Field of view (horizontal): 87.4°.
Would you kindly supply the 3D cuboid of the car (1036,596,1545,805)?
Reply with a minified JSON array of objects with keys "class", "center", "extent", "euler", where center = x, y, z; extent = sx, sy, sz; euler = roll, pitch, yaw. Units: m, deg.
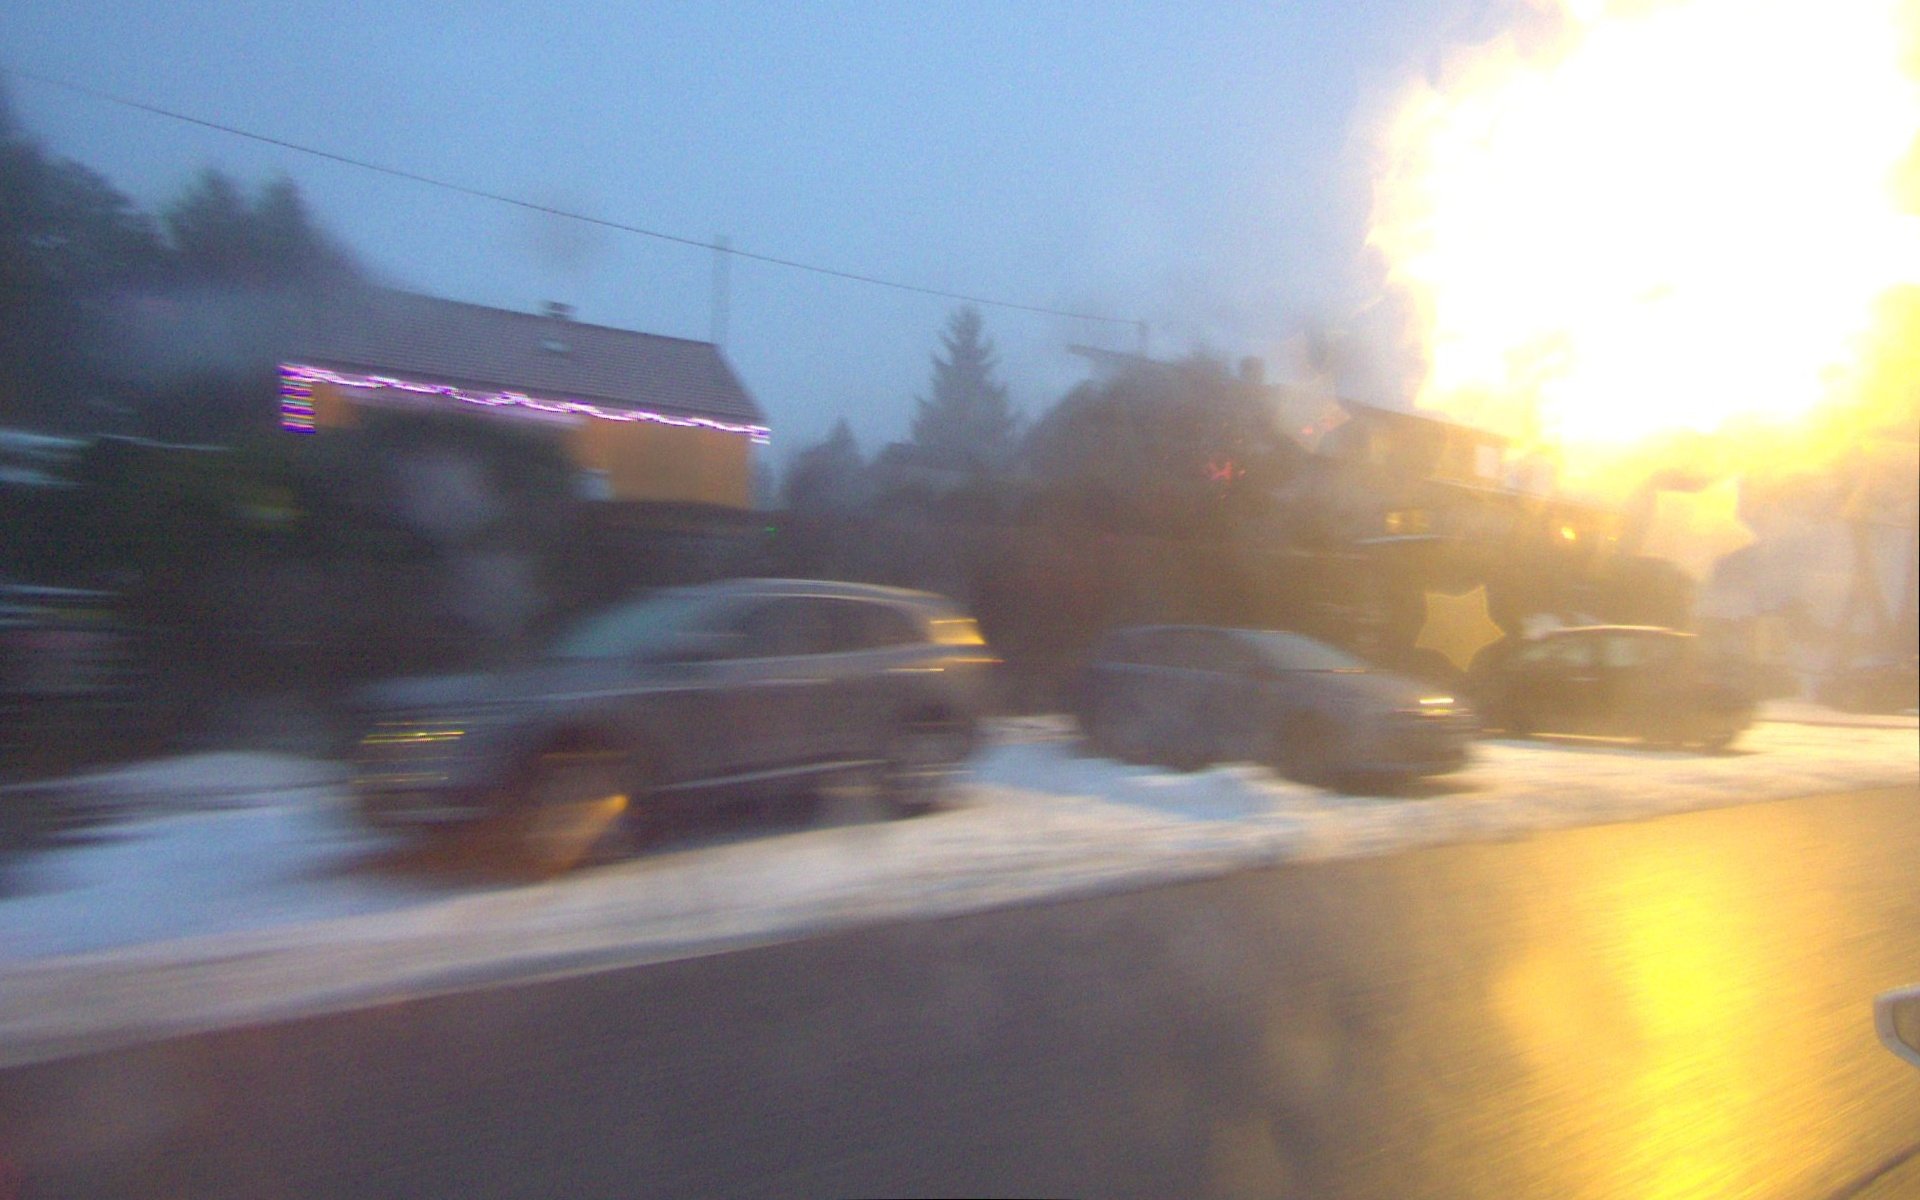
[{"class":"car","center":[3.013,0.868,10.078],"extent":[2.091,1.587,4.495],"euler":[2,-3,-37]}]

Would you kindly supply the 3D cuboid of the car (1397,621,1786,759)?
[{"class":"car","center":[7.965,1.070,13.010],"extent":[1.918,1.491,3.833],"euler":[2,-3,-33]}]

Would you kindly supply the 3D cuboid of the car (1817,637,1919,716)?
[{"class":"car","center":[19.695,1.464,19.012],"extent":[2.098,1.504,4.867],"euler":[2,-3,-29]}]

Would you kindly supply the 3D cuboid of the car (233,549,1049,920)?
[{"class":"car","center":[-1.694,0.719,6.833],"extent":[1.972,1.586,4.970],"euler":[-3,-5,42]}]
